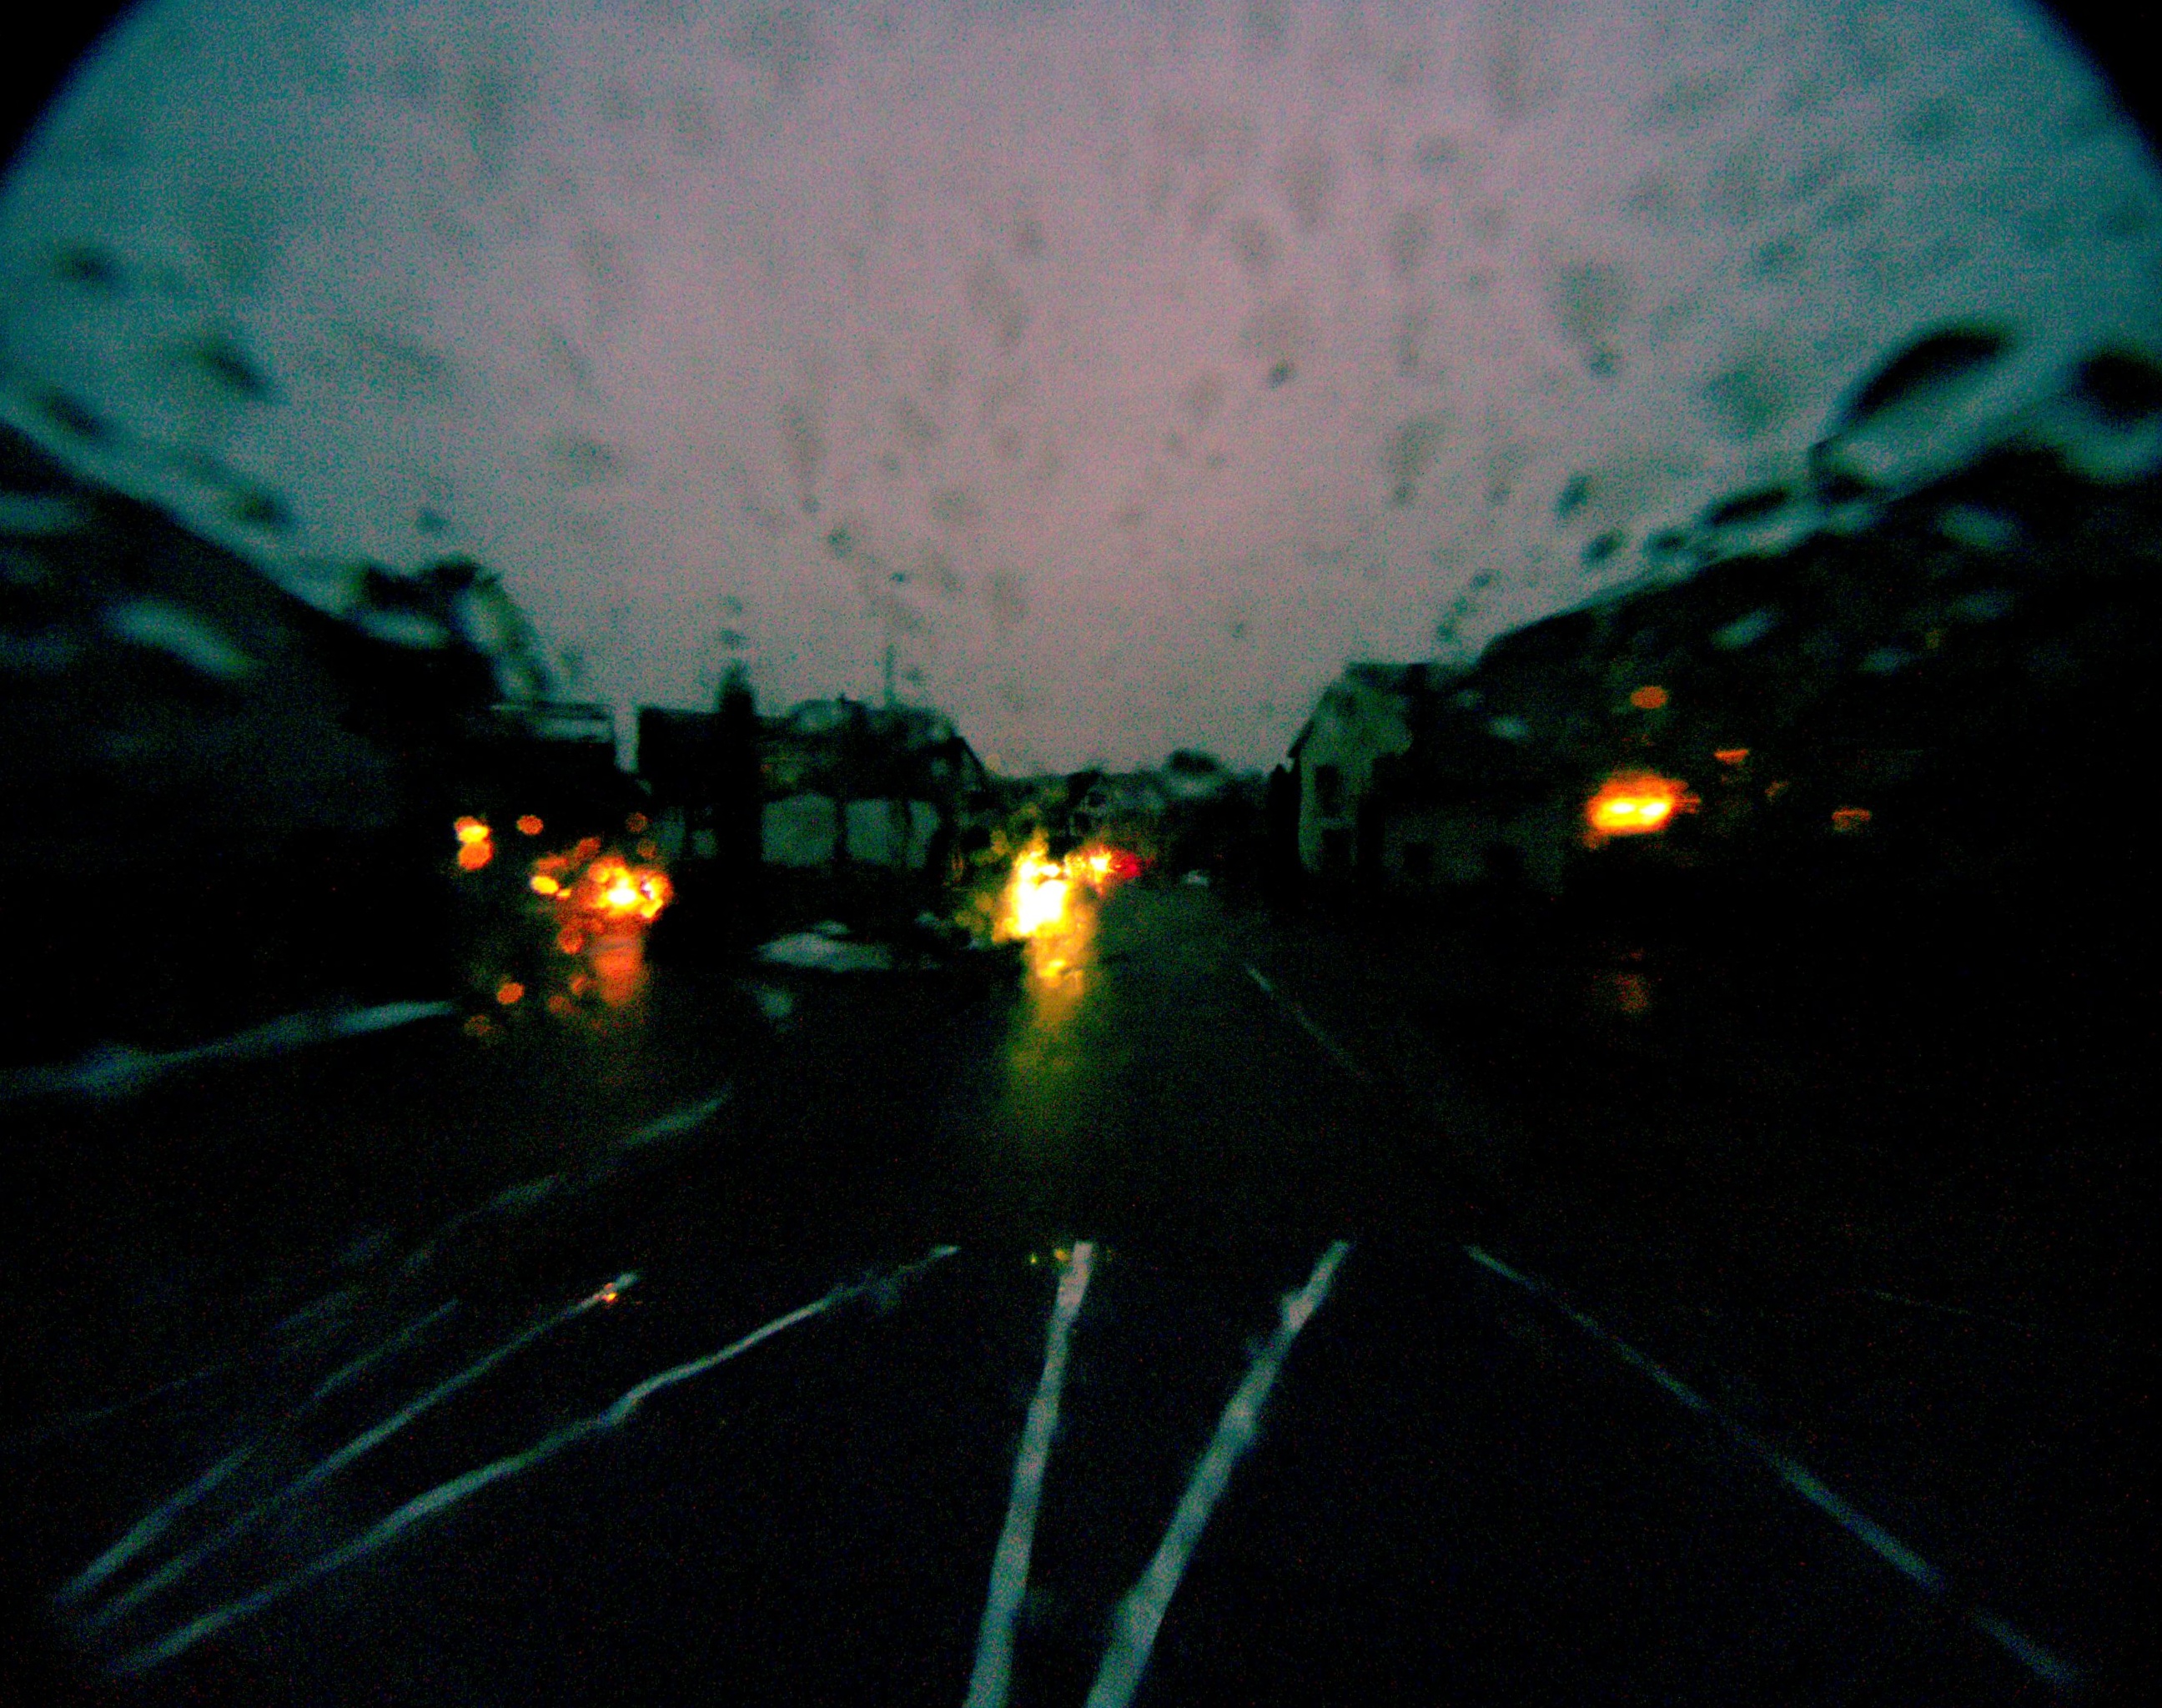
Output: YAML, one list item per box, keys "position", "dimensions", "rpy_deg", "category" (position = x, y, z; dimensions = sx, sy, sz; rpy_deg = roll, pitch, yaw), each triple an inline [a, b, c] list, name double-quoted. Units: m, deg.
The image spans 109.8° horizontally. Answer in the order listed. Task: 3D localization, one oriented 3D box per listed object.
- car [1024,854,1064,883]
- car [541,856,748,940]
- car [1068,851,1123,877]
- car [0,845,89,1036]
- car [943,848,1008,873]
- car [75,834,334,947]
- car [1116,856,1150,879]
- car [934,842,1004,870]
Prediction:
- position: [-2.079, 0.803, 43.487]
  dimensions: [1.998, 1.569, 4.157]
  rpy_deg: [0, 0, 1]
  category: "car"
- position: [-8.645, 0.781, 15.448]
  dimensions: [1.548, 1.457, 3.702]
  rpy_deg: [0, 1, 12]
  category: "car"
- position: [1.238, 0.805, 62.265]
  dimensions: [2.055, 2.045, 4.811]
  rpy_deg: [1, 0, 36]
  category: "car"
- position: [-9.505, 0.743, 5.219]
  dimensions: [1.819, 1.619, 4.539]
  rpy_deg: [2, 0, -33]
  category: "car"
- position: [-7.236, 0.459, 52.021]
  dimensions: [3.900, 1.442, 1.884]
  rpy_deg: [3, 2, -26]
  category: "car"
- position: [-14.774, 0.518, 13.137]
  dimensions: [1.819, 1.622, 4.125]
  rpy_deg: [2, 0, -33]
  category: "car"
- position: [4.047, 1.021, 58.358]
  dimensions: [1.915, 1.643, 4.004]
  rpy_deg: [-1, 0, 14]
  category: "car"
- position: [-8.040, 0.139, 54.683]
  dimensions: [4.484, 1.651, 1.850]
  rpy_deg: [4, 2, -27]
  category: "car"
